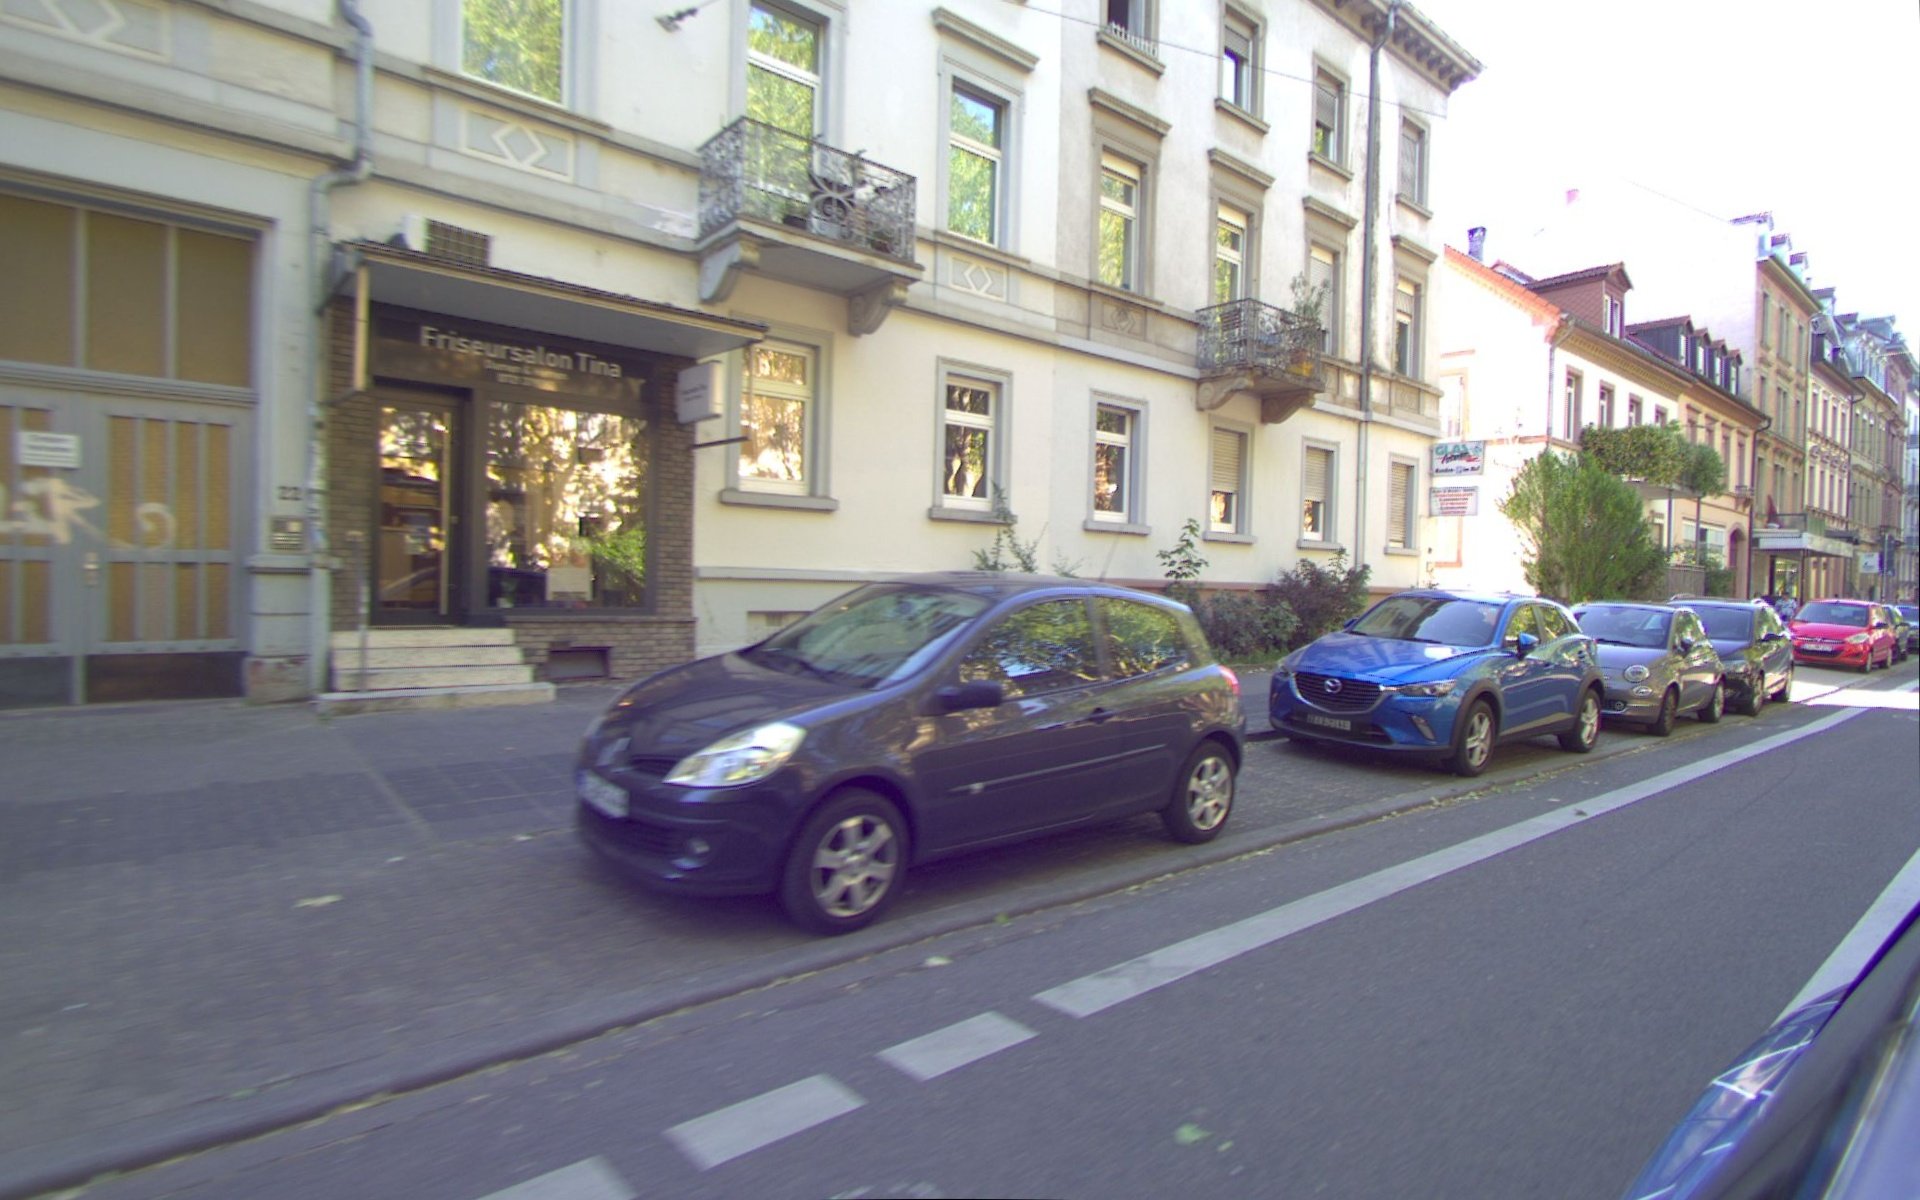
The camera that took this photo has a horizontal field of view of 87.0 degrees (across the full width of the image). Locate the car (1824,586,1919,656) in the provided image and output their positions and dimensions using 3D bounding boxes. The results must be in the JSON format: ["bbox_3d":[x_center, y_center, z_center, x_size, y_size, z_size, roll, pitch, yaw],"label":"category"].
[{"bbox_3d":[23.759,0.487,25.985,3.620,1.587,1.703,0,3,-39],"label":"car"}]

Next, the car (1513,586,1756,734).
[{"bbox_3d":[8.396,0.634,12.527,3.298,1.524,1.543,0,3,-39],"label":"car"}]

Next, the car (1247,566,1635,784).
[{"bbox_3d":[4.644,0.547,9.570,3.837,1.523,1.731,0,6,-39],"label":"car"}]

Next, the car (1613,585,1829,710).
[{"bbox_3d":[11.535,0.622,15.274,3.620,1.587,1.730,0,3,-39],"label":"car"}]

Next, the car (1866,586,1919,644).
[{"bbox_3d":[28.463,0.422,30.064,3.620,1.587,1.703,0,3,-39],"label":"car"}]

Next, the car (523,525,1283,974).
[{"bbox_3d":[-0.089,0.488,5.475,3.839,1.523,1.635,0,6,-41],"label":"car"}]

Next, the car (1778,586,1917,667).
[{"bbox_3d":[19.969,0.540,22.727,3.620,1.587,1.703,0,3,-39],"label":"car"}]
